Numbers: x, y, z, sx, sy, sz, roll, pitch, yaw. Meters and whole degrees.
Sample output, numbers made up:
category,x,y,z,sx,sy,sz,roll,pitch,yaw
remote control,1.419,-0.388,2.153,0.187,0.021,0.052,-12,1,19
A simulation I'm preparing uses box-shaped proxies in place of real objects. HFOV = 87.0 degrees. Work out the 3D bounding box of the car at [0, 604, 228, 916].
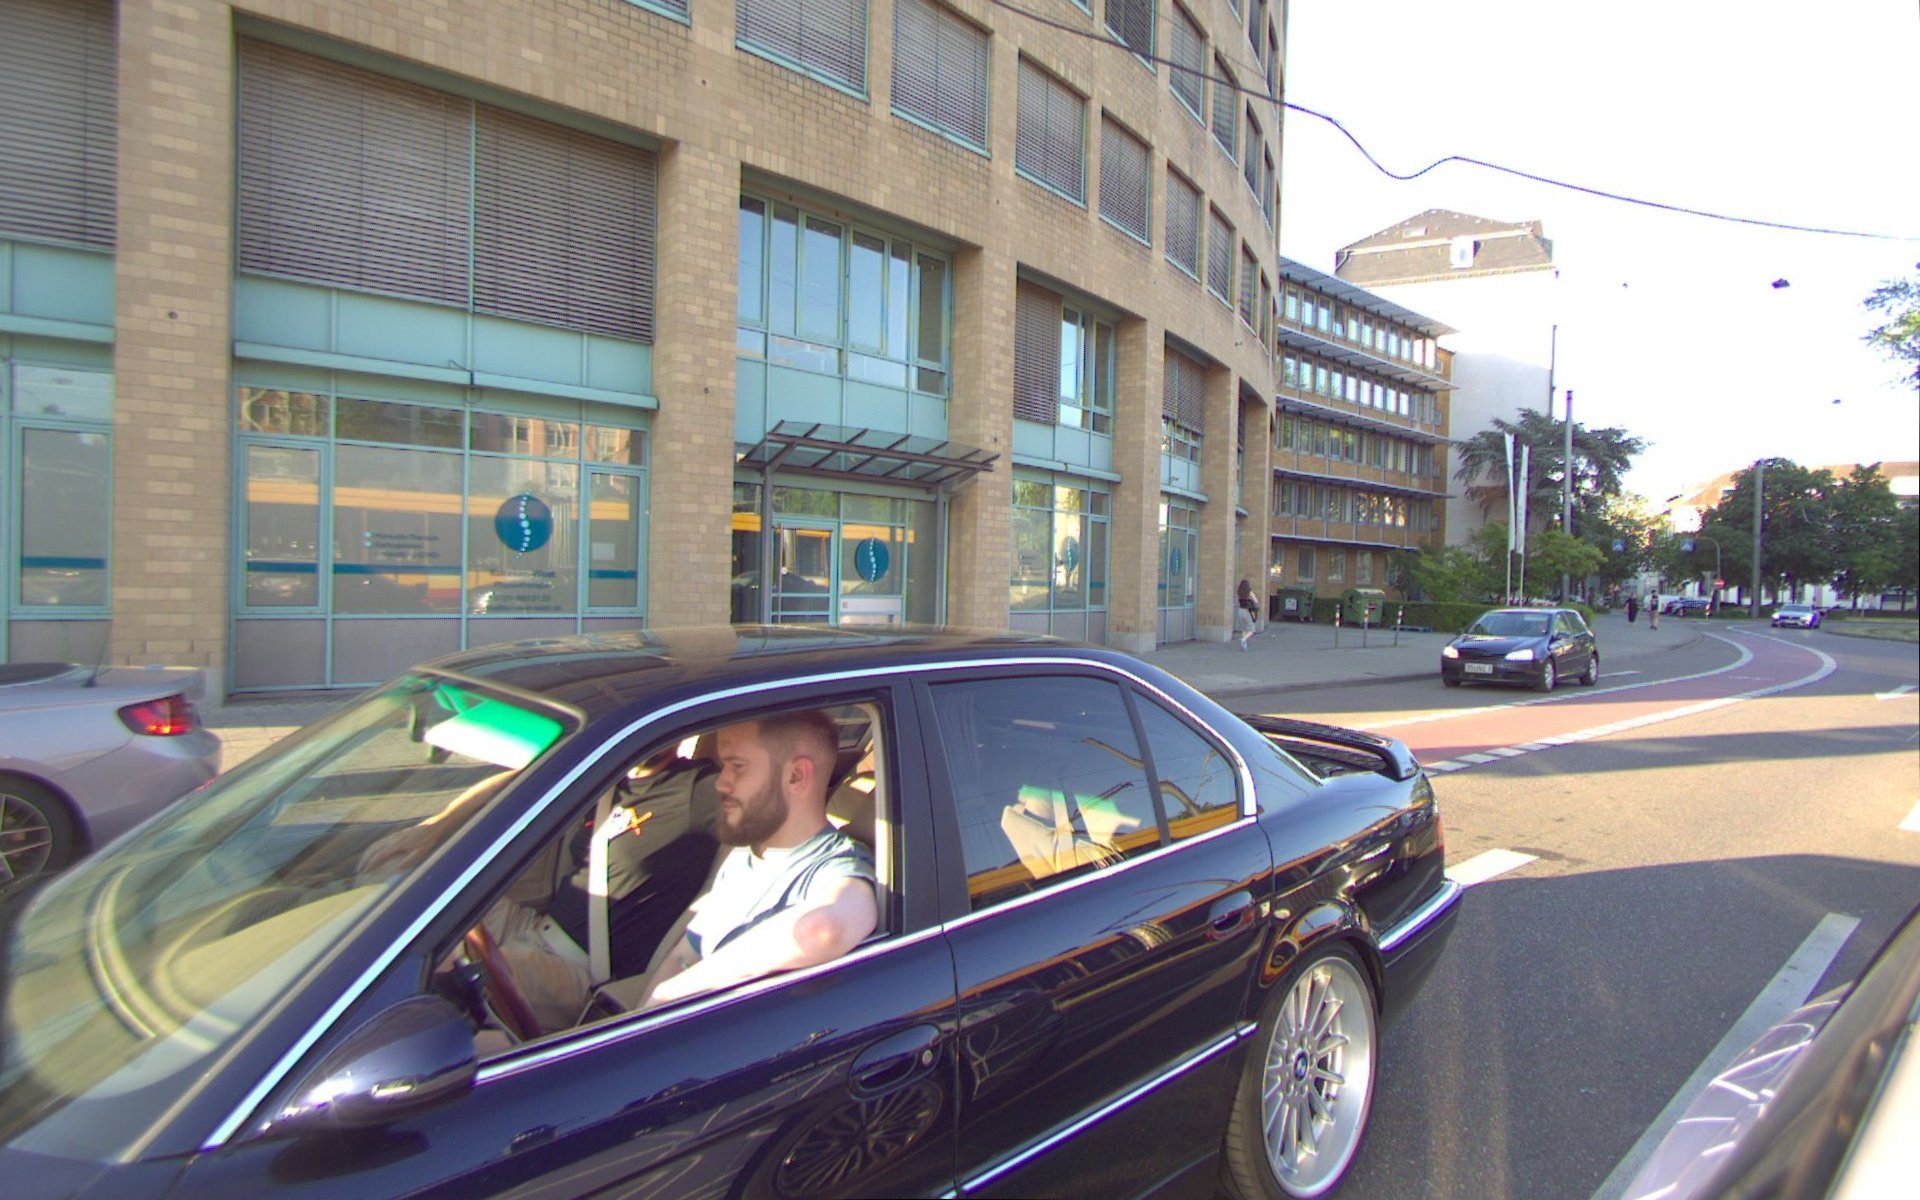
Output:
category,x,y,z,sx,sy,sz,roll,pitch,yaw
car,-5.882,0.735,4.479,4.153,1.403,1.746,0,0,-41

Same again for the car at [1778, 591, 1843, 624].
category,x,y,z,sx,sy,sz,roll,pitch,yaw
car,49.765,0.420,59.216,3.924,1.771,2.000,0,1,-36

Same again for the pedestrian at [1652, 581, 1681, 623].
category,x,y,z,sx,sy,sz,roll,pitch,yaw
pedestrian,32.870,0.071,47.116,0.902,1.918,1.116,1,1,26

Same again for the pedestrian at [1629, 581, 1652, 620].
category,x,y,z,sx,sy,sz,roll,pitch,yaw
pedestrian,33.098,0.015,49.212,0.711,1.830,0.728,0,1,-41

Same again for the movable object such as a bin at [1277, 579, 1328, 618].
category,x,y,z,sx,sy,sz,roll,pitch,yaw
movable object such as a bin,13.362,-0.079,39.503,1.310,1.477,1.425,0,1,-43

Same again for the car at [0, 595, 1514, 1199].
category,x,y,z,sx,sy,sz,roll,pitch,yaw
car,-0.724,0.707,2.314,4.656,1.402,1.997,0,1,-41

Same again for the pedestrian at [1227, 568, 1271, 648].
category,x,y,z,sx,sy,sz,roll,pitch,yaw
pedestrian,6.332,0.163,22.153,0.702,1.702,0.626,0,1,-44

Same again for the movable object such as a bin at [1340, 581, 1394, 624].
category,x,y,z,sx,sy,sz,roll,pitch,yaw
movable object such as a bin,14.865,0.074,36.943,1.311,1.477,1.424,0,1,-45

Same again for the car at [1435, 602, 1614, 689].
category,x,y,z,sx,sy,sz,roll,pitch,yaw
car,10.513,0.758,18.732,3.932,1.404,1.756,0,0,-42
